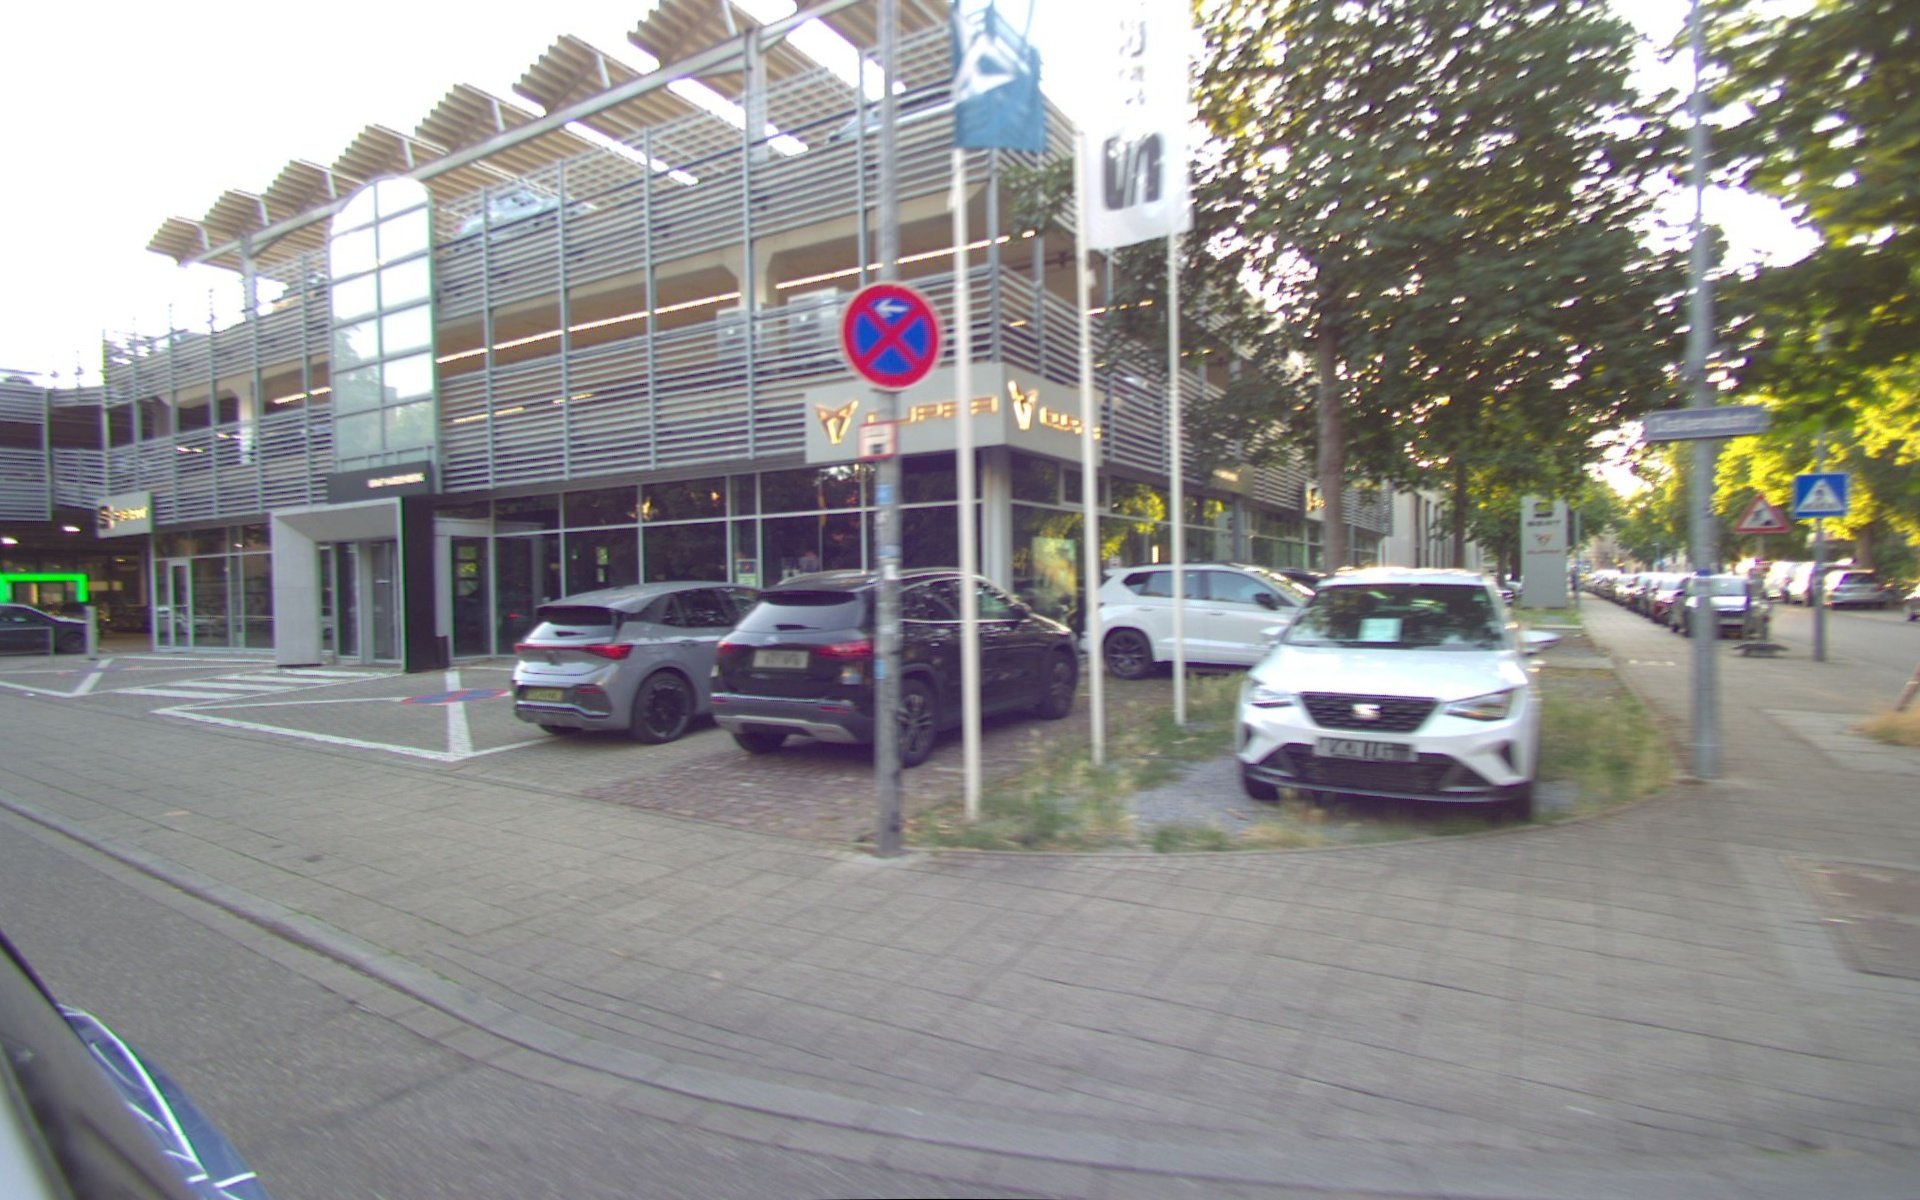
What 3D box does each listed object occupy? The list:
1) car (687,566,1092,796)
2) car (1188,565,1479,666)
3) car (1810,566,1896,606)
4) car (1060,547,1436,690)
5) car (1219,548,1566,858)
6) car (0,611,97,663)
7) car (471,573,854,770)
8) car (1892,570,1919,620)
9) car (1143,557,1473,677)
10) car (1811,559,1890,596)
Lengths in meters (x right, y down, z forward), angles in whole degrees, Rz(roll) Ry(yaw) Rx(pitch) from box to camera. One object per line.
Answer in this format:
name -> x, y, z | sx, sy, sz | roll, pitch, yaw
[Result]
car -> -0.402, 0.545, 9.486 | 1.712, 1.617, 4.083 | -1, 1, 31
car -> 6.559, 0.283, 17.902 | 4.574, 1.584, 1.853 | -2, 0, 31
car -> 35.269, -0.559, 40.065 | 1.611, 1.452, 4.065 | -2, 0, 28
car -> 3.829, 0.252, 13.686 | 4.574, 1.656, 1.853 | -2, 0, 31
car -> 3.283, 0.507, 7.303 | 1.761, 1.584, 3.863 | -1, 0, 30
car -> -29.695, 1.145, 31.612 | 1.629, 1.579, 3.881 | -1, 0, 35
car -> -3.007, 0.606, 10.910 | 1.702, 1.603, 3.651 | -1, 3, 35
car -> 28.359, -0.170, 28.854 | 1.611, 1.452, 4.065 | -2, 0, 28
car -> 5.349, 0.269, 15.736 | 4.574, 1.628, 1.853 | -2, 0, 31
car -> 38.143, -0.957, 43.428 | 1.611, 1.452, 4.065 | -2, 0, 28
